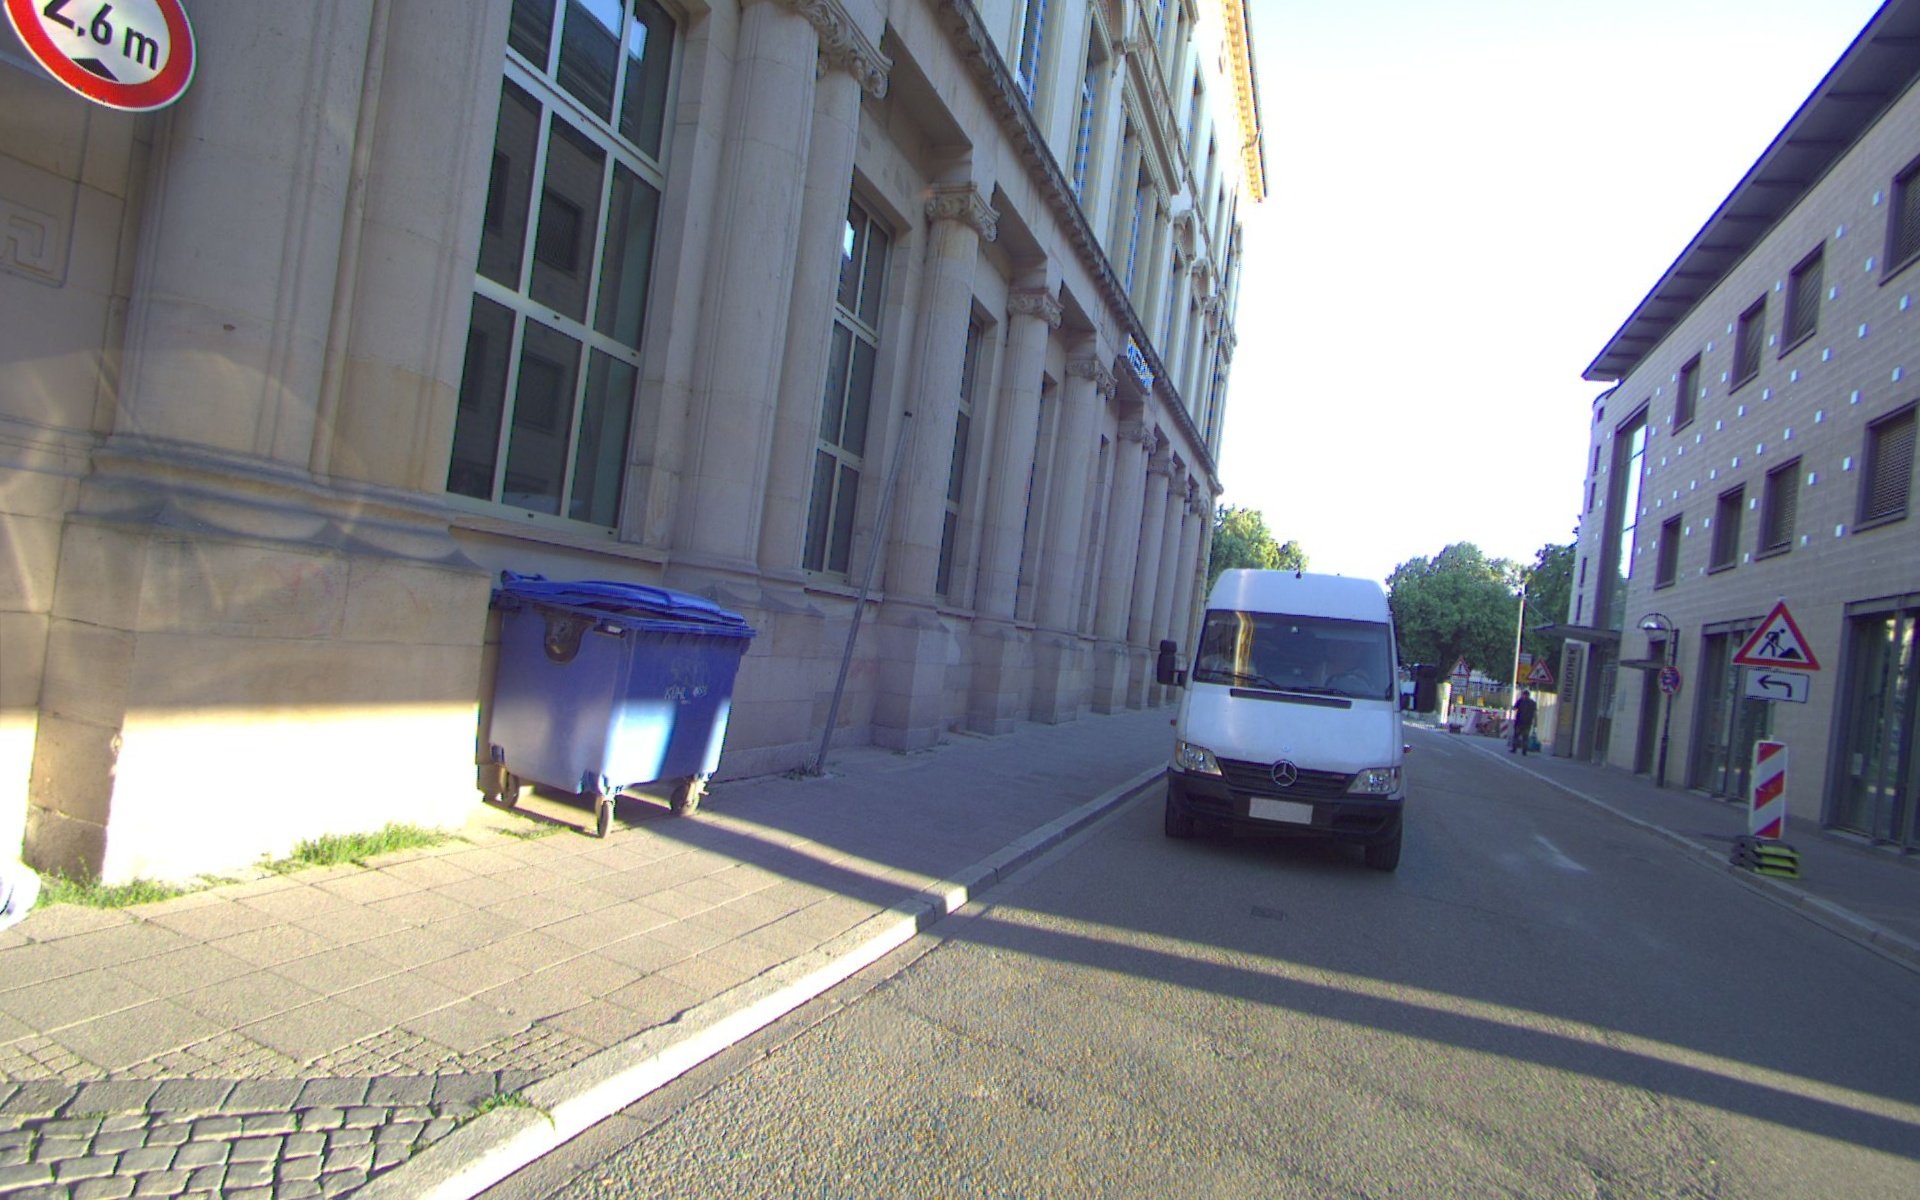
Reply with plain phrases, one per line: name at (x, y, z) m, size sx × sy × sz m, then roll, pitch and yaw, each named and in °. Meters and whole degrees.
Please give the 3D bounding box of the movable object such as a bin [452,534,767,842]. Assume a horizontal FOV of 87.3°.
movable object such as a bin at (-2.034, 0.493, 5.980) m, size 1.058 × 1.492 × 1.187 m, roll 9°, pitch 0°, yaw 24°

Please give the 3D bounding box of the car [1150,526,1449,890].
car at (3.433, 0.957, 10.613) m, size 1.964 × 2.541 × 6.475 m, roll 4°, pitch -2°, yaw 17°

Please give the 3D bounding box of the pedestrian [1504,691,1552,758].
pedestrian at (15.989, 3.485, 28.357) m, size 0.909 × 1.722 × 0.868 m, roll 6°, pitch -1°, yaw 23°
